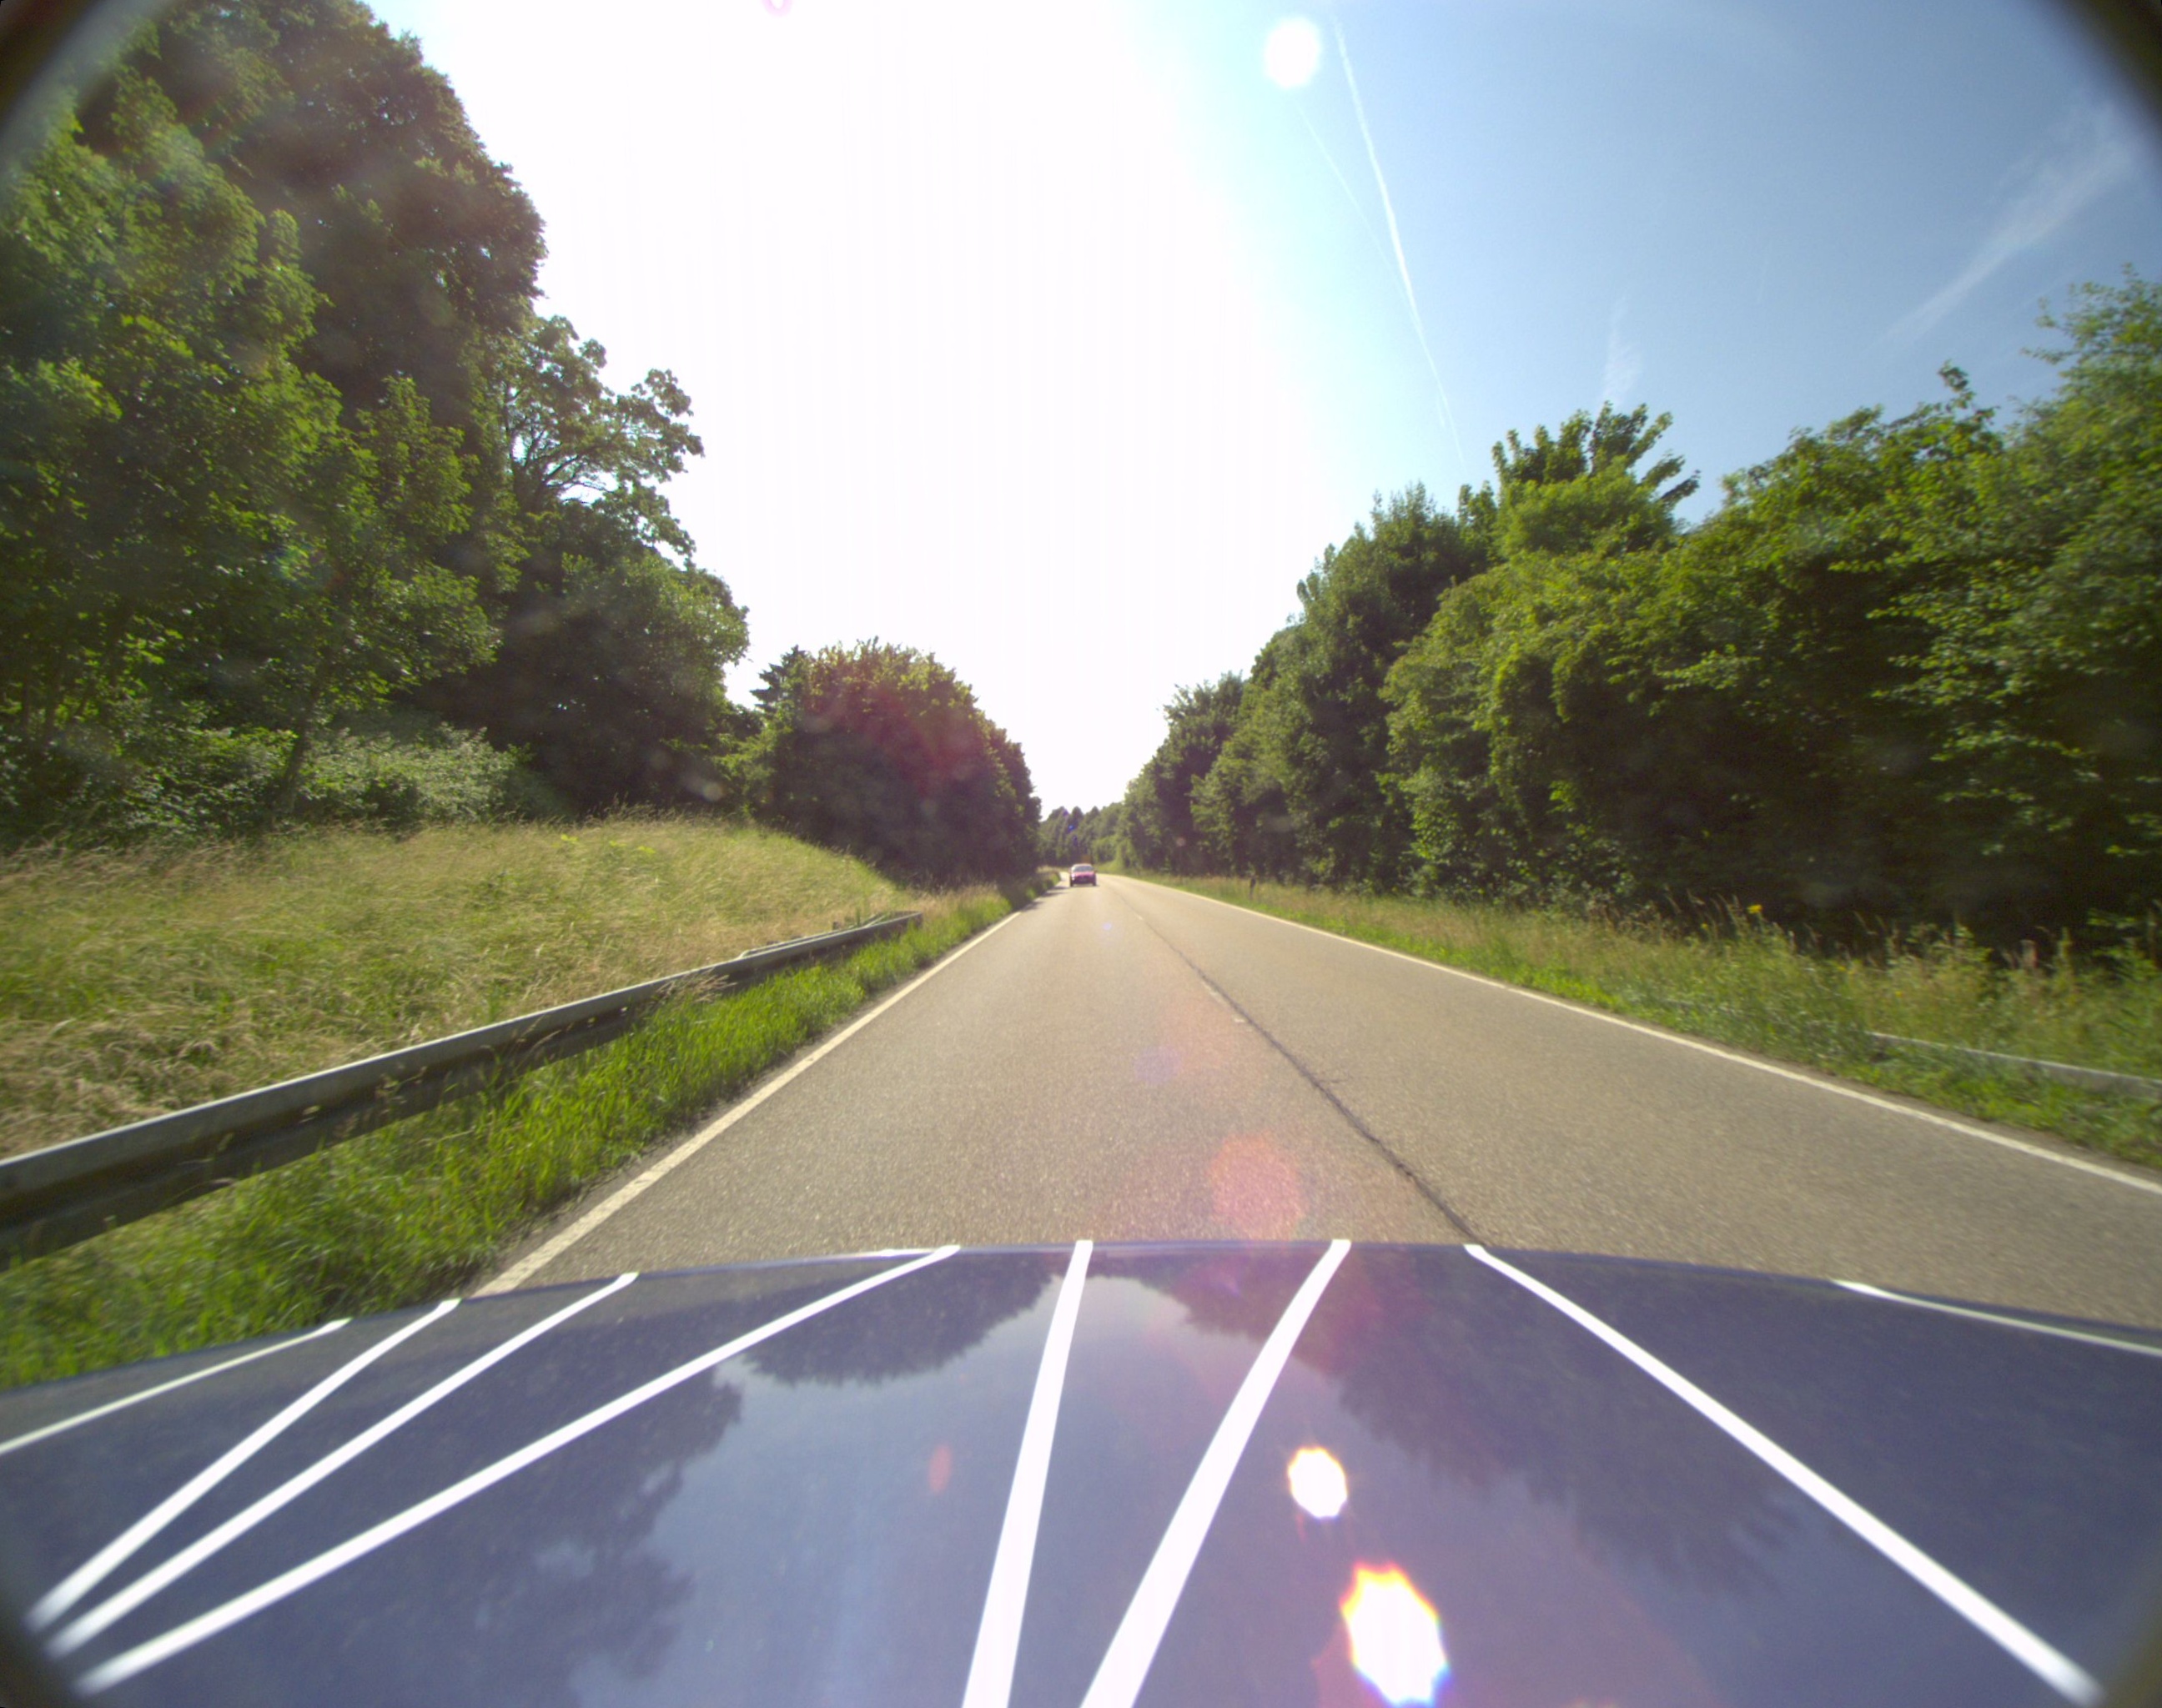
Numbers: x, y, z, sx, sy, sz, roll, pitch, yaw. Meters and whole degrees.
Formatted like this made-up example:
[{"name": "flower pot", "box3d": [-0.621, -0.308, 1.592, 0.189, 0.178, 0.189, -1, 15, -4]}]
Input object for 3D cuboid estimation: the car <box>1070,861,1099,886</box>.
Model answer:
[{"name": "car", "box3d": [0.214, 1.258, 51.328, 1.816, 1.488, 4.285, -1, 1, 0]}]
